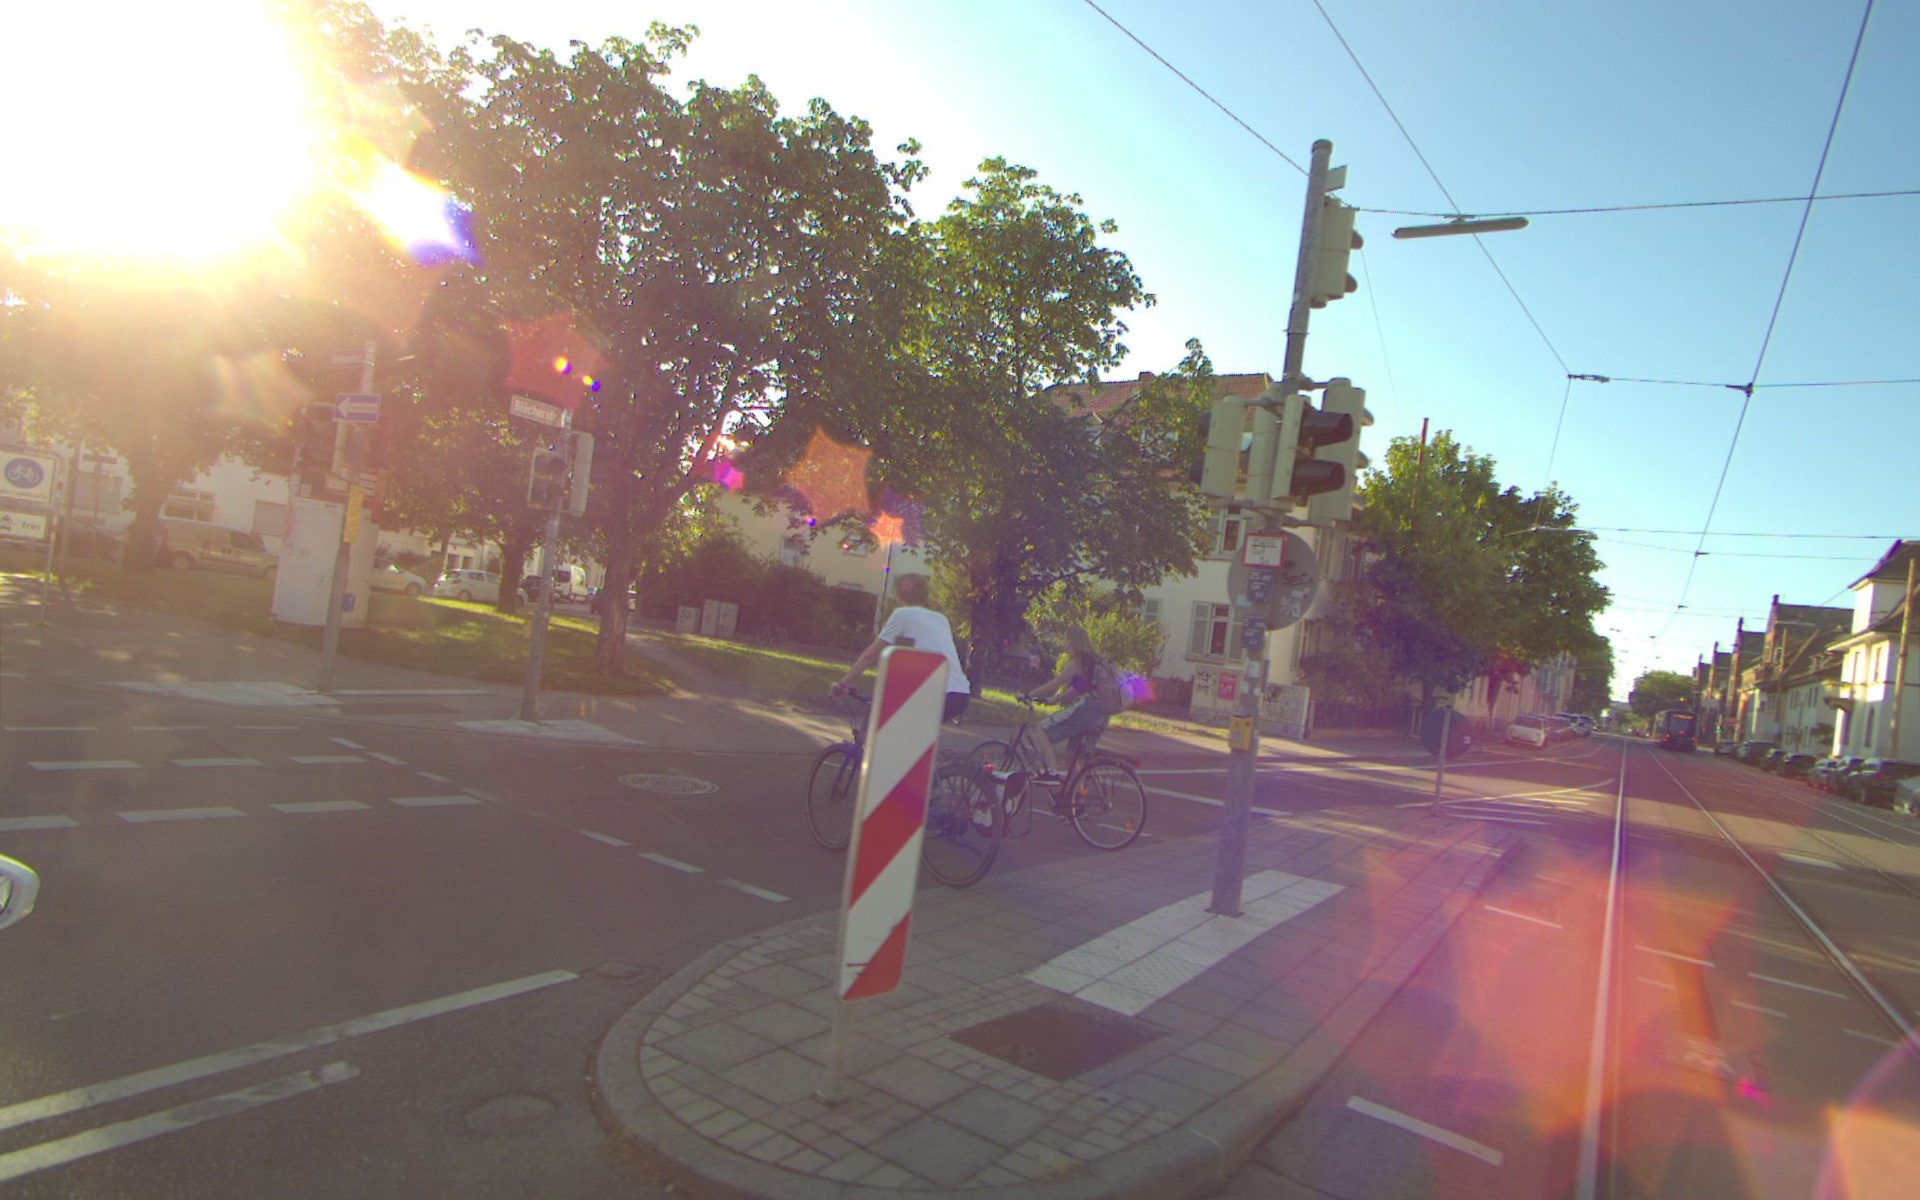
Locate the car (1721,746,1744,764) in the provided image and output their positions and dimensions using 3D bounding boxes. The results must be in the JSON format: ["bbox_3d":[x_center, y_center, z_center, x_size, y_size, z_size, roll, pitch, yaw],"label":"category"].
[{"bbox_3d":[73.821,14.812,96.157,1.459,1.464,3.436,6,-5,35],"label":"car"}]

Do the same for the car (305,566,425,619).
[{"bbox_3d":[-23.014,-0.265,39.031,1.579,1.533,3.560,6,-2,31],"label":"car"}]

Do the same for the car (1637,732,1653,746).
[{"bbox_3d":[103.124,20.978,151.555,1.592,1.641,3.714,6,0,30],"label":"car"}]

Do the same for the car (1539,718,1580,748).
[{"bbox_3d":[39.020,8.663,65.452,1.896,1.614,3.892,6,-2,35],"label":"car"}]

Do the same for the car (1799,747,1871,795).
[{"bbox_3d":[40.850,7.937,47.046,1.969,1.790,3.991,6,-2,35],"label":"car"}]

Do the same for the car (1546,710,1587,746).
[{"bbox_3d":[41.728,8.801,69.175,1.969,2.034,3.995,6,-5,35],"label":"car"}]

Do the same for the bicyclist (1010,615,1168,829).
[{"bbox_3d":[1.071,0.989,8.289,0.880,1.579,0.713,6,-4,35],"label":"bicyclist"}]

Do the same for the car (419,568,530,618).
[{"bbox_3d":[-20.657,-0.282,42.957,1.499,1.540,3.930,5,-4,32],"label":"car"}]

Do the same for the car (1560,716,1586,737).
[{"bbox_3d":[55.537,11.489,91.139,1.811,1.551,3.874,6,-5,33],"label":"car"}]

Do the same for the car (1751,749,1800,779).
[{"bbox_3d":[51.217,10.351,63.264,1.969,1.479,3.996,6,-5,35],"label":"car"}]

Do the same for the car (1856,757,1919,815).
[{"bbox_3d":[32.132,6.344,34.152,1.969,1.614,3.991,6,-2,35],"label":"car"}]

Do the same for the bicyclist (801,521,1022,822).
[{"bbox_3d":[-0.309,0.450,6.416,0.813,1.750,0.883,11,-4,-43],"label":"bicyclist"}]

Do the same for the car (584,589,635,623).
[{"bbox_3d":[-19.003,0.314,54.717,1.968,1.570,3.992,8,-1,-12],"label":"car"}]

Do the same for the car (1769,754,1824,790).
[{"bbox_3d":[47.952,9.827,57.714,1.969,1.645,3.993,5,-4,35],"label":"car"}]

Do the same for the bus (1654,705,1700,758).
[{"bbox_3d":[63.819,11.875,89.702,2.821,3.866,13.307,6,-5,35],"label":"bus"}]

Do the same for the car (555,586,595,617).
[{"bbox_3d":[-28.652,0.132,74.950,1.885,1.896,3.934,9,-4,-11],"label":"car"}]

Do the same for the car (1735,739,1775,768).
[{"bbox_3d":[59.656,11.469,75.560,1.969,1.792,3.991,6,-2,35],"label":"car"}]

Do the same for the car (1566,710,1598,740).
[{"bbox_3d":[50.343,10.169,81.489,1.967,2.034,3.998,6,-4,32],"label":"car"}]

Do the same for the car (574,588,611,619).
[{"bbox_3d":[-29.385,0.332,80.504,1.968,2.035,3.997,9,-4,-11],"label":"car"}]

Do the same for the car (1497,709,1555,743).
[{"bbox_3d":[27.774,6.164,49.297,1.969,1.325,3.991,6,-3,35],"label":"car"}]

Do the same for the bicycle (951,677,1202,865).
[{"bbox_3d":[0.931,1.369,8.358,1.932,1.196,0.492,5,-4,33],"label":"bicycle"}]

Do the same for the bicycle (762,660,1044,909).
[{"bbox_3d":[-0.430,1.104,6.449,0.571,1.196,1.882,11,-4,-43],"label":"bicycle"}]

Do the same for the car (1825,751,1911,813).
[{"bbox_3d":[37.254,7.415,41.375,1.969,1.904,3.989,8,-1,35],"label":"car"}]

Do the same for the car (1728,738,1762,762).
[{"bbox_3d":[69.085,13.243,88.556,1.969,1.746,3.995,6,-5,35],"label":"car"}]

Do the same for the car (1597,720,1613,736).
[{"bbox_3d":[76.324,15.150,119.042,1.422,1.522,3.266,6,-5,33],"label":"car"}]

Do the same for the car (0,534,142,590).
[{"bbox_3d":[-32.991,-1.404,37.082,1.690,1.463,3.990,6,-3,36],"label":"car"}]

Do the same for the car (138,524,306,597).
[{"bbox_3d":[-25.986,-1.353,35.546,2.000,1.896,4.245,6,-3,37],"label":"car"}]

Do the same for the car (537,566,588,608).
[{"bbox_3d":[-27.670,-0.845,70.187,2.078,2.361,4.518,9,-4,-9],"label":"car"}]

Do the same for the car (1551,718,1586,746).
[{"bbox_3d":[44.286,9.588,73.204,1.967,1.632,3.998,6,-5,32],"label":"car"}]

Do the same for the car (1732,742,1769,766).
[{"bbox_3d":[62.881,12.243,80.051,1.969,1.458,3.991,6,-2,35],"label":"car"}]

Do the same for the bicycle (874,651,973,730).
[{"bbox_3d":[-0.560,1.459,16.011,1.519,1.103,0.461,9,2,-45],"label":"bicycle"}]

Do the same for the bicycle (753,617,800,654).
[{"bbox_3d":[-7.214,1.392,39.566,1.924,1.252,0.450,5,-3,35],"label":"bicycle"}]
